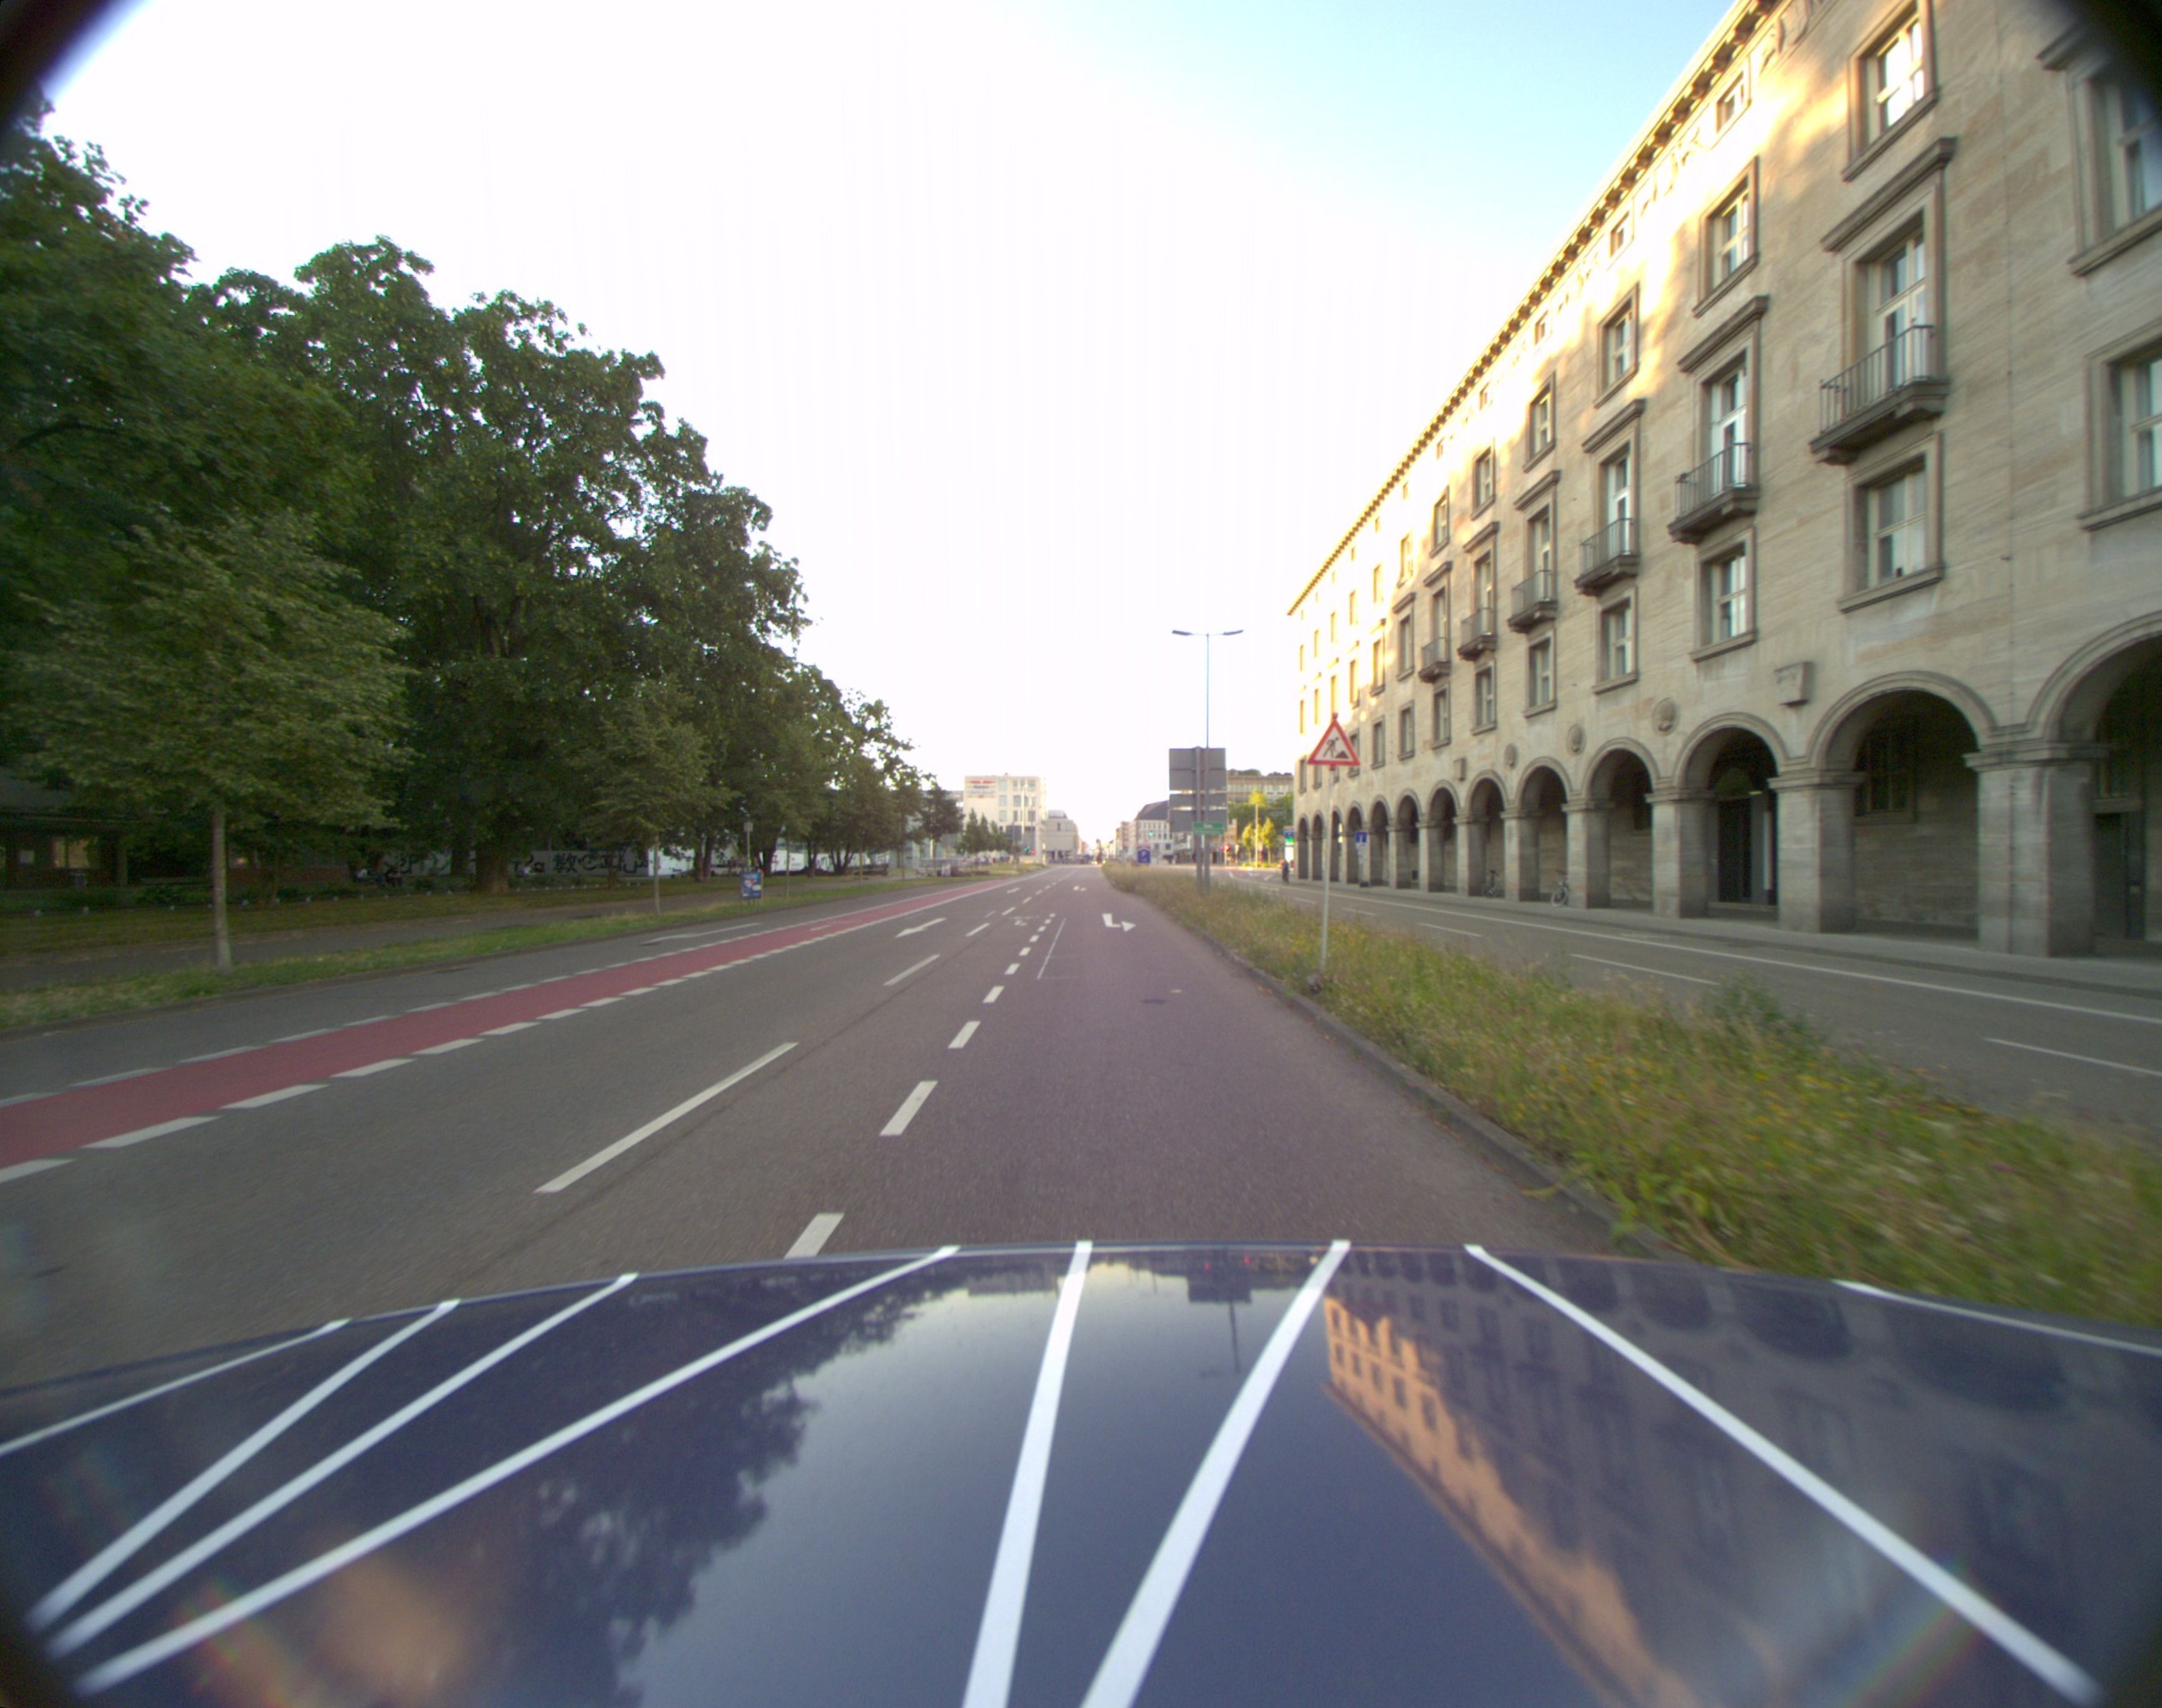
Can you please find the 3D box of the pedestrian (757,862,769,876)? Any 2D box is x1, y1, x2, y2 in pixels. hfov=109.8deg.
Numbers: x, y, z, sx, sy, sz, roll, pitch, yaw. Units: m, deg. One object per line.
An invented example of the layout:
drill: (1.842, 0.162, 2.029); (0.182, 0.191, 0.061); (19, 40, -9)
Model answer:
pedestrian: (-20.493, 0.948, 48.942); (0.682, 0.879, 0.592); (0, 0, -23)

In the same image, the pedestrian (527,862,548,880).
pedestrian: (-34.941, 1.064, 48.833); (0.788, 1.157, 0.766); (0, 0, -4)

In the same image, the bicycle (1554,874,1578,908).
bicycle: (15.403, 1.146, 24.099); (0.477, 0.999, 2.009); (0, 0, 37)

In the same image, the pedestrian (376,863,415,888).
pedestrian: (-34.820, 1.106, 38.618); (1.134, 1.253, 0.905); (0, 0, 4)

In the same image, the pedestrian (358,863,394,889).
pedestrian: (-34.939, 1.095, 37.669); (1.134, 1.253, 0.726); (0, 0, 4)

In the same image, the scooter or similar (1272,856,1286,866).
scooter or similar: (26.666, 0.967, 102.286); (1.863, 1.297, 0.500); (0, 1, -5)

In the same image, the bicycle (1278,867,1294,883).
bicycle: (12.978, 1.307, 48.135); (0.543, 0.999, 2.005); (0, 0, 1)

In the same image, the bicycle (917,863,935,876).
bicycle: (-12.505, 1.247, 61.371); (0.494, 1.000, 1.901); (3, 0, 21)

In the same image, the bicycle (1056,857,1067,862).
bicycle: (-4.772, 1.283, 185.981); (2.804, 1.209, 0.765); (0, 0, 10)

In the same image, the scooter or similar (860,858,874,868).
scooter or similar: (-26.516, 1.124, 93.983); (1.573, 1.213, 0.474); (-2, 1, -1)

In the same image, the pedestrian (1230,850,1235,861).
pedestrian: (25.052, 0.228, 125.487); (0.661, 1.921, 0.648); (0, 0, 3)

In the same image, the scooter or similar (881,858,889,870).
scooter or similar: (-20.902, 1.049, 81.015); (0.474, 1.213, 1.574); (2, 0, -5)

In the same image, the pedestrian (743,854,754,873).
pedestrian: (-31.883, 0.943, 72.816); (0.768, 1.810, 0.601); (0, 0, 16)

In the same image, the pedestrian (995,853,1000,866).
pedestrian: (-11.770, 0.791, 107.333); (0.644, 1.922, 0.619); (0, 0, 1)

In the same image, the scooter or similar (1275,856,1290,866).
scooter or similar: (26.781, 0.961, 100.854); (1.841, 1.297, 0.423); (0, 1, -5)

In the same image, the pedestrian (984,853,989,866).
pedestrian: (-14.152, 0.856, 113.343); (0.644, 1.922, 0.619); (0, 0, 3)

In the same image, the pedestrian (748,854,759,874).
pedestrian: (-30.820, 0.932, 71.479); (0.768, 1.908, 0.601); (0, 0, 16)

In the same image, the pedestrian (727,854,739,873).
pedestrian: (-32.966, 0.916, 72.001); (0.768, 1.845, 0.601); (0, 0, 16)

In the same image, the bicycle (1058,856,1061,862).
bicycle: (-5.204, 1.227, 183.807); (0.619, 1.316, 2.509); (0, 0, -1)

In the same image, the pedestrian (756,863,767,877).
pedestrian: (-20.807, 1.054, 49.485); (0.682, 0.879, 0.622); (0, 0, -22)

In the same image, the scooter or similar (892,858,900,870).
scooter or similar: (-19.729, 1.036, 81.073); (0.424, 1.213, 1.399); (2, 0, 2)

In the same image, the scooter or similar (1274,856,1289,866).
scooter or similar: (26.751, 0.967, 101.296); (1.836, 1.297, 0.423); (0, 1, -5)

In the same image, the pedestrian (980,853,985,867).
pedestrian: (-14.039, 0.844, 108.603); (0.644, 1.922, 0.619); (0, 0, 3)

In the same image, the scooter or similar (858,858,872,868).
scooter or similar: (-26.462, 1.137, 93.166); (1.573, 1.213, 0.474); (-2, 1, -1)

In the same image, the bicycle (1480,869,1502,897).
bicycle: (15.707, 1.086, 29.133); (0.477, 0.999, 2.008); (0, 0, 20)

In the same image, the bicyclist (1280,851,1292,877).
bicyclist: (12.971, 0.630, 48.068); (0.538, 1.683, 0.748); (0, 1, 1)

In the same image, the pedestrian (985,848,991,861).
pedestrian: (-13.257, 0.095, 108.236); (0.644, 1.922, 0.619); (0, 2, 3)

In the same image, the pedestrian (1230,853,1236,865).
pedestrian: (24.897, 0.822, 124.575); (0.874, 1.826, 0.776); (0, 0, 2)
